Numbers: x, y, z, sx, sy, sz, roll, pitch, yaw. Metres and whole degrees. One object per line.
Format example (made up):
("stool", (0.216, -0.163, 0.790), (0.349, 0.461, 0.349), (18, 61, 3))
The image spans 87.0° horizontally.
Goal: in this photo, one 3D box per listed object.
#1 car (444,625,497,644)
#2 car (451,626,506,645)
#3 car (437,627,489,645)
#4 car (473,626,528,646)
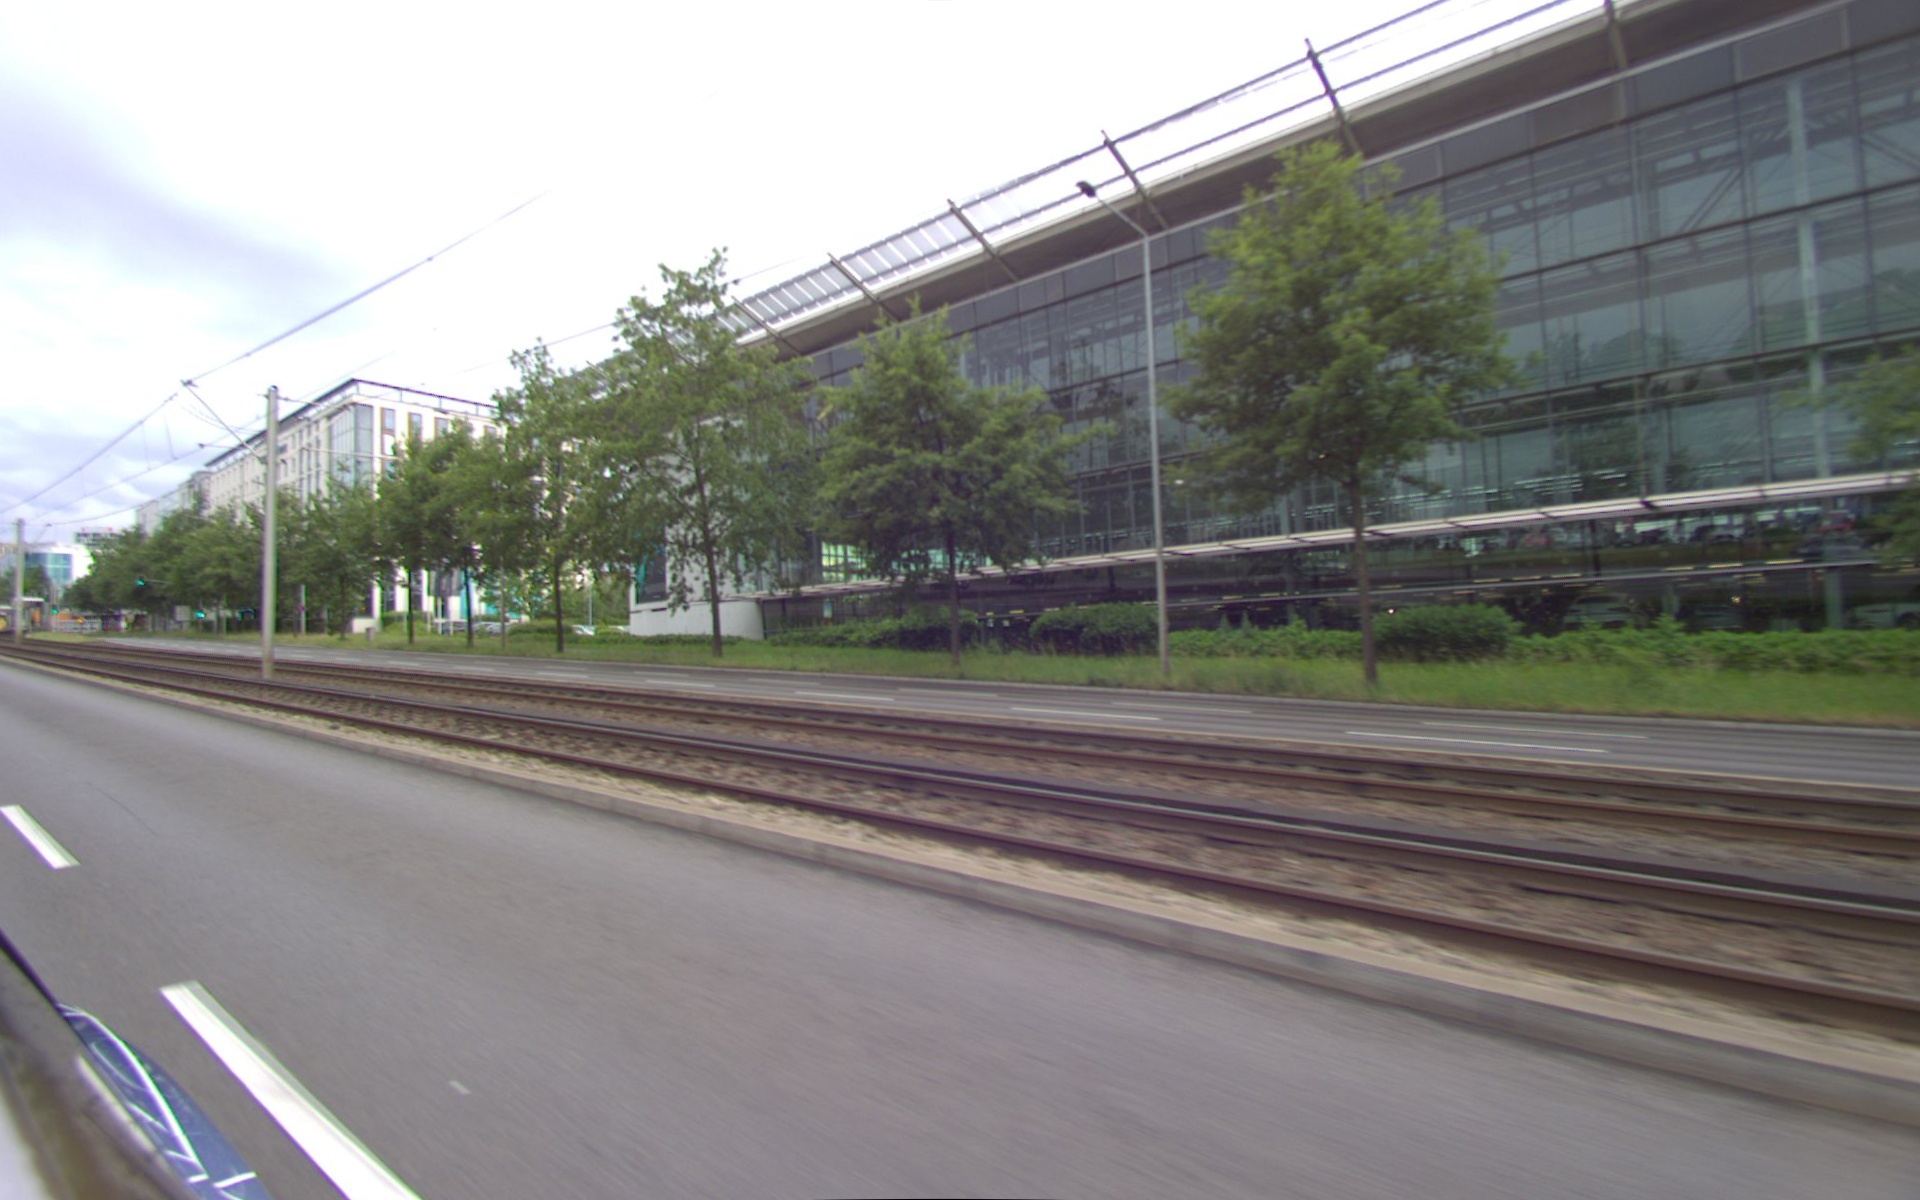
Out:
("car", (-41.756, 2.935, 86.440), (3.931, 1.401, 1.809), (-1, 0, -22))
("car", (-39.817, 2.923, 83.765), (3.931, 1.401, 1.770), (-1, 0, -22))
("car", (-43.612, 3.112, 88.857), (3.931, 1.401, 1.809), (-1, 0, -22))
("car", (-37.183, 2.890, 82.019), (3.931, 1.401, 1.809), (-1, 0, -22))
